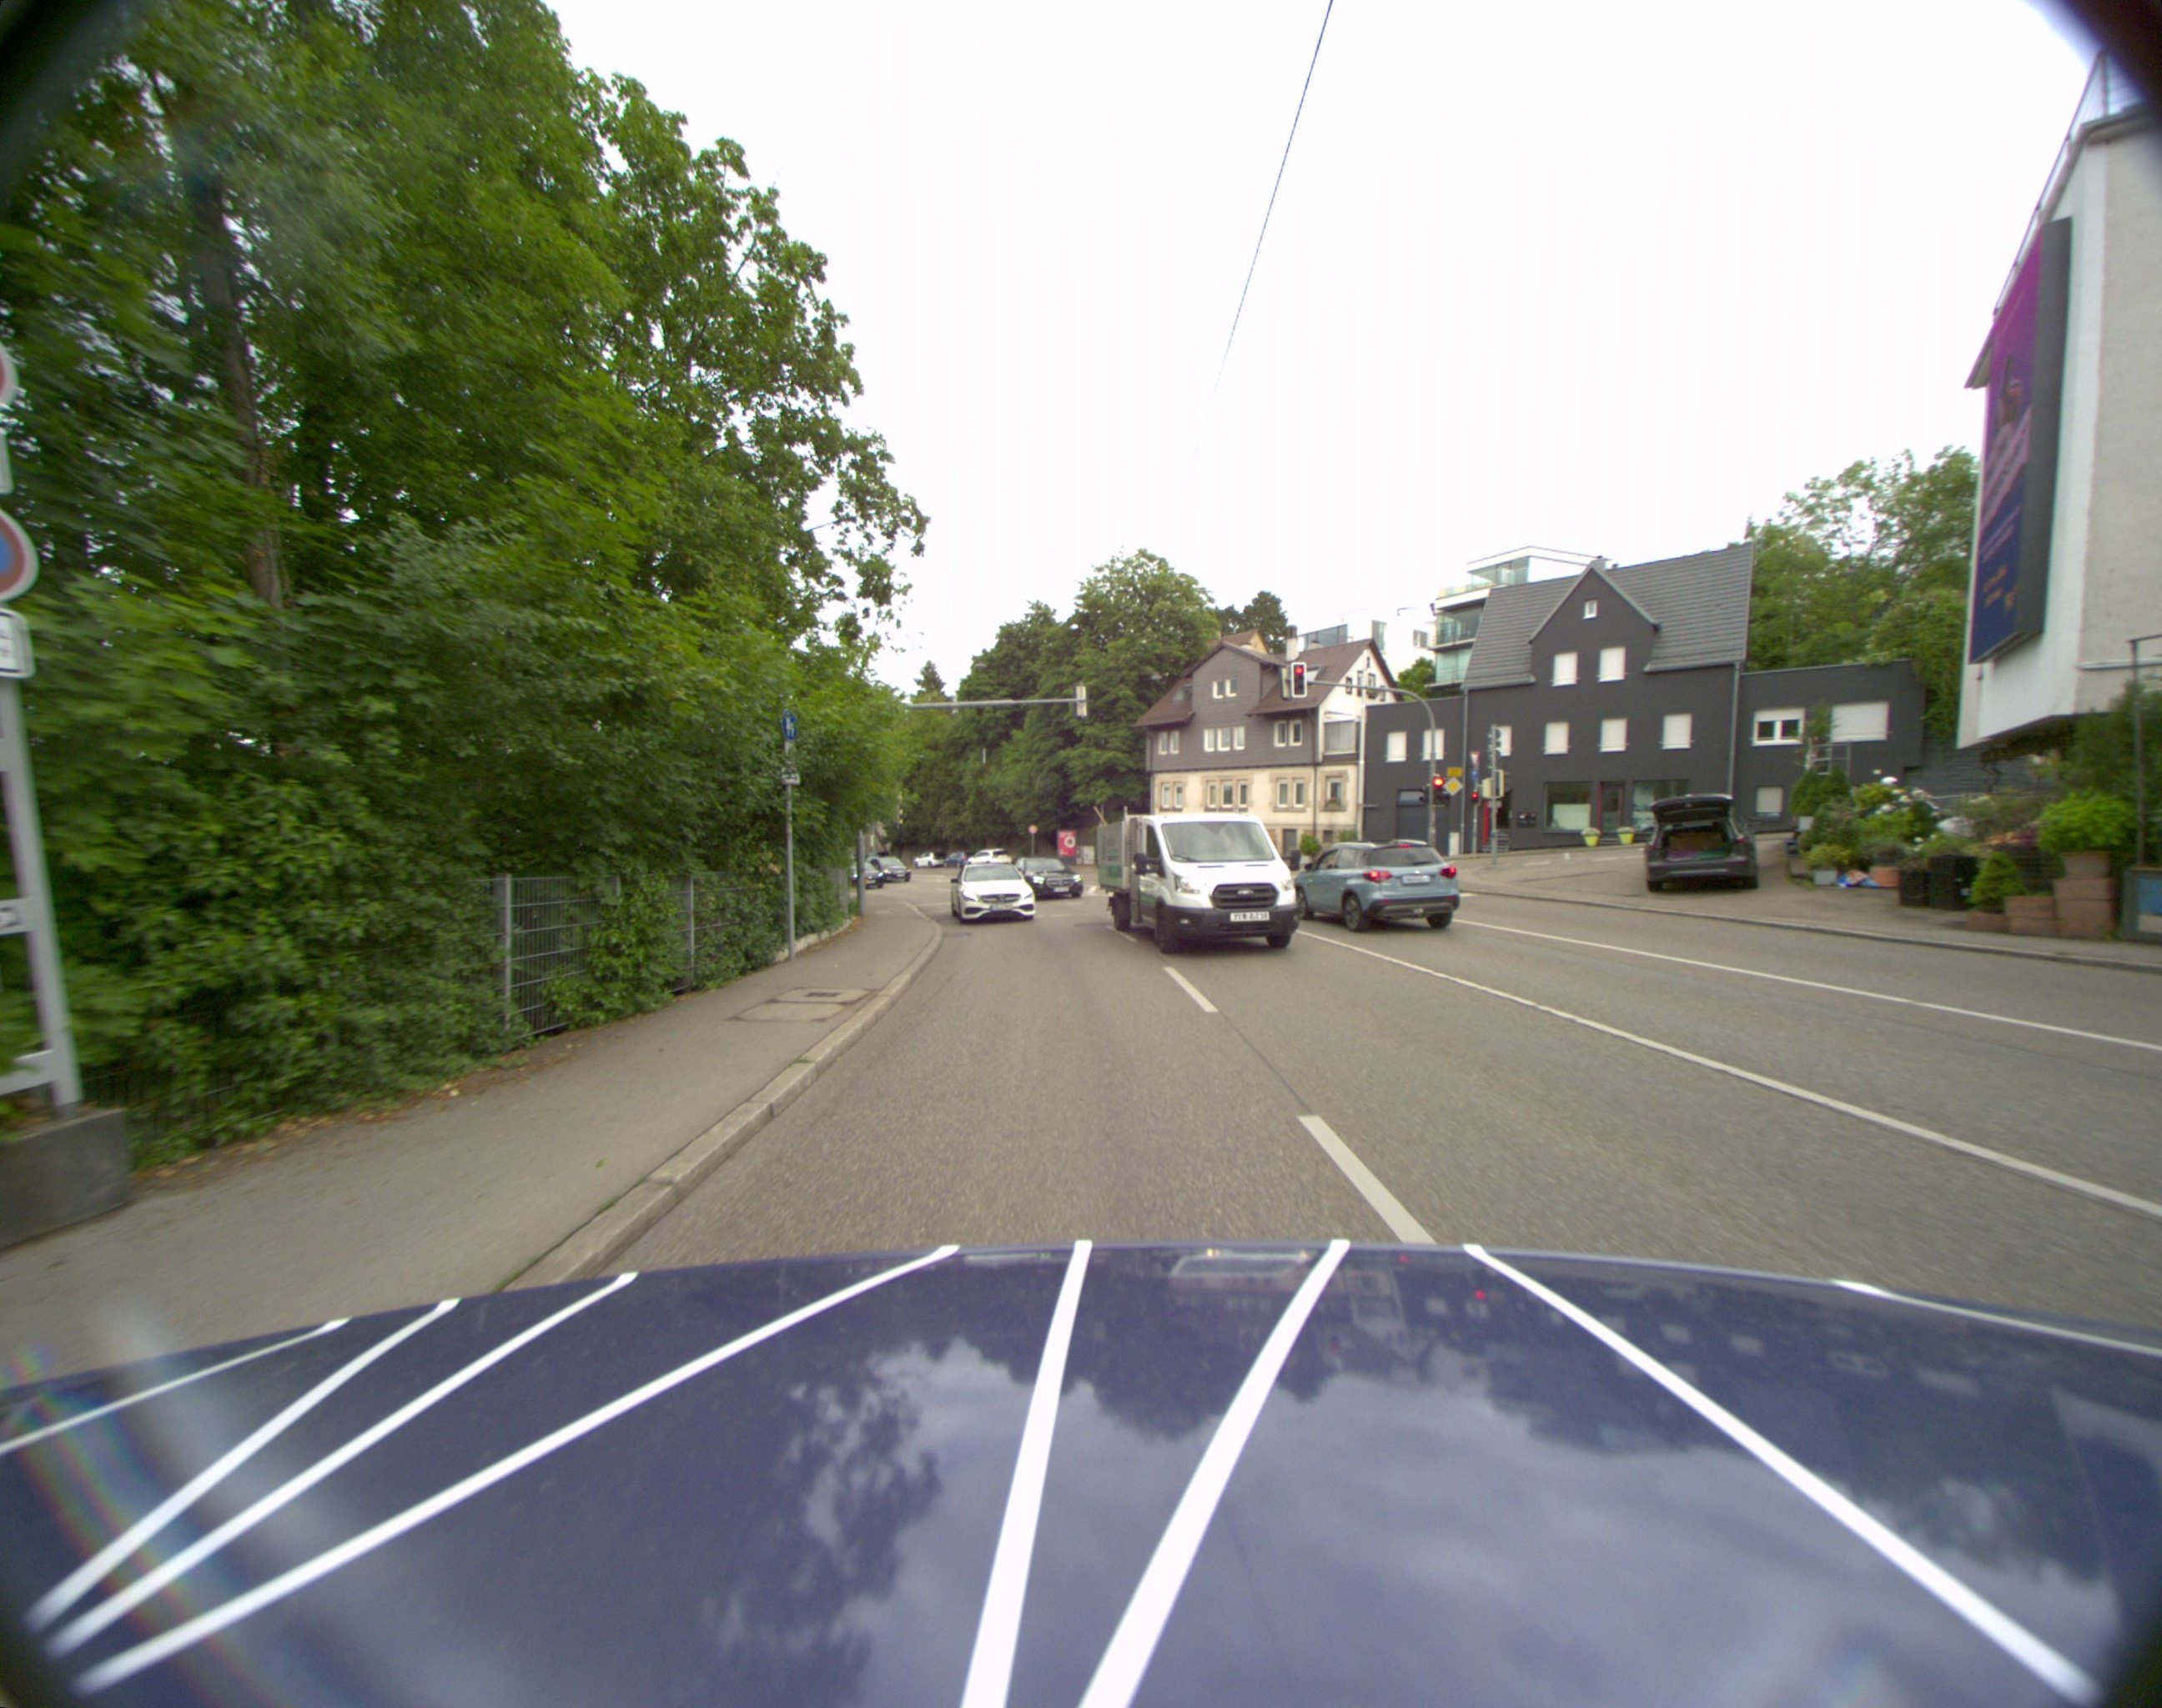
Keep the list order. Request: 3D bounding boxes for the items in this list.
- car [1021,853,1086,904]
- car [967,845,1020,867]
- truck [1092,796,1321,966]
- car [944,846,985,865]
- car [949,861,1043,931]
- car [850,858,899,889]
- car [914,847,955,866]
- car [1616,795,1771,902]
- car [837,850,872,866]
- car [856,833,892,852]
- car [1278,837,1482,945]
[{"bbox_3d":[-1.072,0.793,27.047,1.916,1.473,4.396,-4,2,-6],"label":"car"},{"bbox_3d":[-6.697,0.147,57.717,1.892,1.559,4.377,-4,2,-38],"label":"car"},{"bbox_3d":[1.811,0.338,13.656,2.082,2.308,6.326,-1,1,-10],"label":"truck"},{"bbox_3d":[-10.367,0.184,67.574,1.720,1.520,4.290,-5,2,-36],"label":"car"},{"bbox_3d":[-2.264,0.968,19.319,1.819,1.391,3.994,-3,2,-13],"label":"car"},{"bbox_3d":[-11.839,1.065,43.378,1.781,1.533,3.991,-5,2,-27],"label":"car"},{"bbox_3d":[-13.889,0.213,72.075,1.788,1.620,4.159,-5,2,-43],"label":"car"},{"bbox_3d":[13.838,-0.192,17.063,2.313,1.703,4.709,-5,3,42],"label":"car"},{"bbox_3d":[-25.636,0.444,85.844,1.979,1.647,4.519,-5,3,-40],"label":"car"},{"bbox_3d":[-22.156,-1.255,81.333,1.788,1.833,4.476,-5,2,-41],"label":"car"},{"bbox_3d":[5.490,0.587,14.671,1.901,1.685,4.345,-2,1,-5],"label":"car"}]
